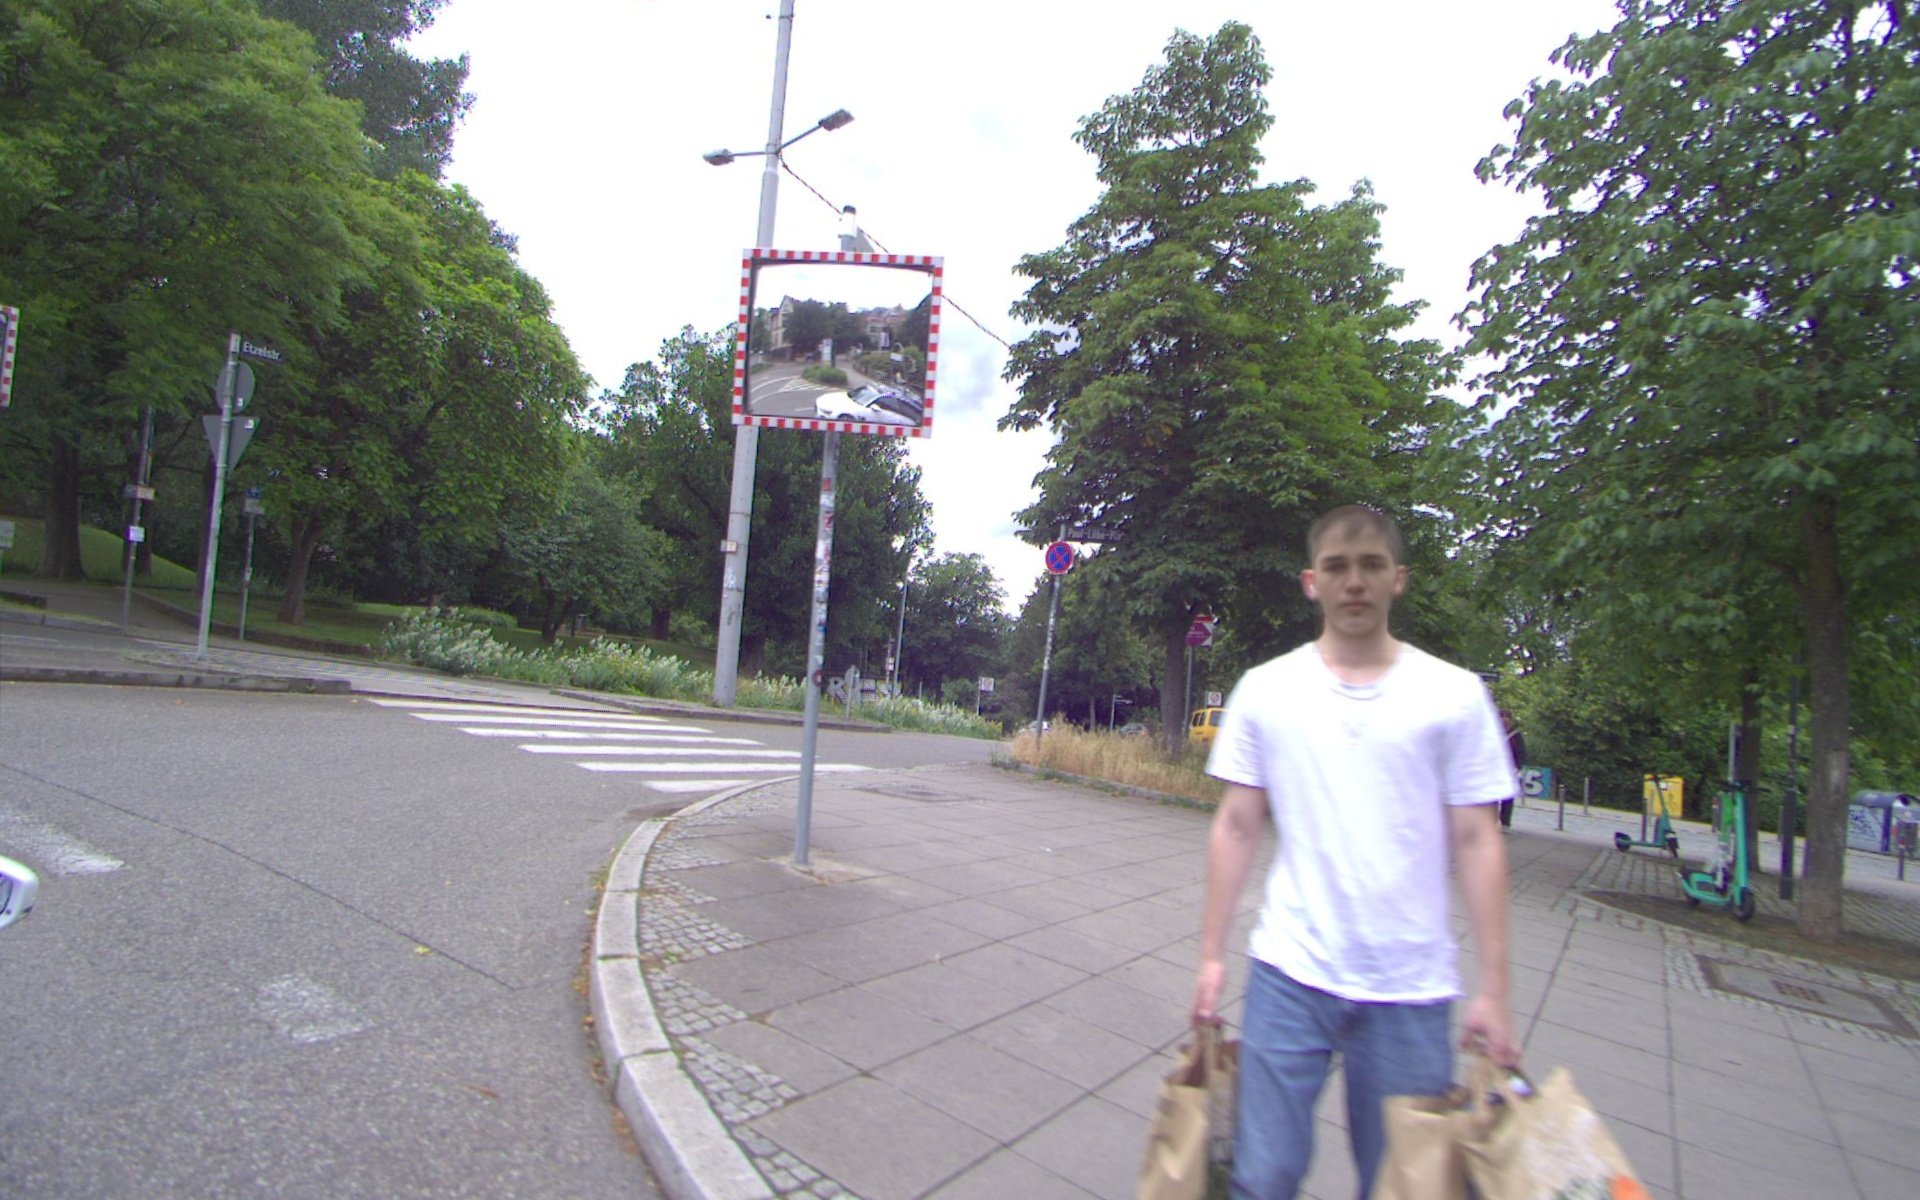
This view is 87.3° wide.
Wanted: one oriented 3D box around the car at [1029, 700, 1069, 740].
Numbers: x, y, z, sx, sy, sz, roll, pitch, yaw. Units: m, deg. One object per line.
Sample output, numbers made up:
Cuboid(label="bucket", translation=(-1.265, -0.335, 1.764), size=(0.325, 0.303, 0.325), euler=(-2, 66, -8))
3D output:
Cuboid(label="car", translation=(5.695, 7.712, 64.808), size=(1.963, 2.036, 4.004), euler=(8, -3, 0))

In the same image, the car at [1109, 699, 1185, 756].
Cuboid(label="car", translation=(8.835, 6.023, 47.919), size=(1.968, 2.036, 3.995), euler=(8, -3, -11))

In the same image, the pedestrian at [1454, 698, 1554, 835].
Cuboid(label="pedestrian", translation=(8.272, 2.522, 15.291), size=(0.958, 1.907, 0.849), euler=(9, -3, -37))

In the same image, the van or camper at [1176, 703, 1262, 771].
Cuboid(label="van or camper", translation=(9.273, 4.860, 36.365), size=(1.855, 1.997, 4.481), euler=(9, -5, 2))

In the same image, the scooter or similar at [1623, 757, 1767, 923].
Cuboid(label="scooter or similar", translation=(6.503, 2.077, 8.958), size=(0.491, 1.239, 1.251), euler=(7, -4, 14))

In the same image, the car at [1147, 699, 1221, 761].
Cuboid(label="car", translation=(9.397, 5.420, 42.504), size=(1.963, 2.036, 4.004), euler=(8, -3, 0))

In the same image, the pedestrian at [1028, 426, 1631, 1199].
Cuboid(label="pedestrian", translation=(0.636, 0.627, 1.792), size=(0.716, 1.734, 0.614), euler=(7, 2, 39))

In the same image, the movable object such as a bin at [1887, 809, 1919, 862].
Cuboid(label="movable object such as a bin", translation=(24.306, 5.990, 25.337), size=(1.297, 1.179, 1.057), euler=(6, -3, 43))

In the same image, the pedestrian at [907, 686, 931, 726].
Cuboid(label="pedestrian", translation=(-1.808, 4.653, 44.322), size=(0.657, 1.667, 0.670), euler=(7, -2, 19))

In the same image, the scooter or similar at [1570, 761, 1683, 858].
Cuboid(label="scooter or similar", translation=(10.449, 3.265, 15.804), size=(0.460, 1.261, 1.309), euler=(9, -4, -32))

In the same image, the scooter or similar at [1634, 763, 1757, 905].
Cuboid(label="scooter or similar", translation=(7.627, 2.391, 10.485), size=(0.491, 1.239, 1.251), euler=(7, -4, 14))
